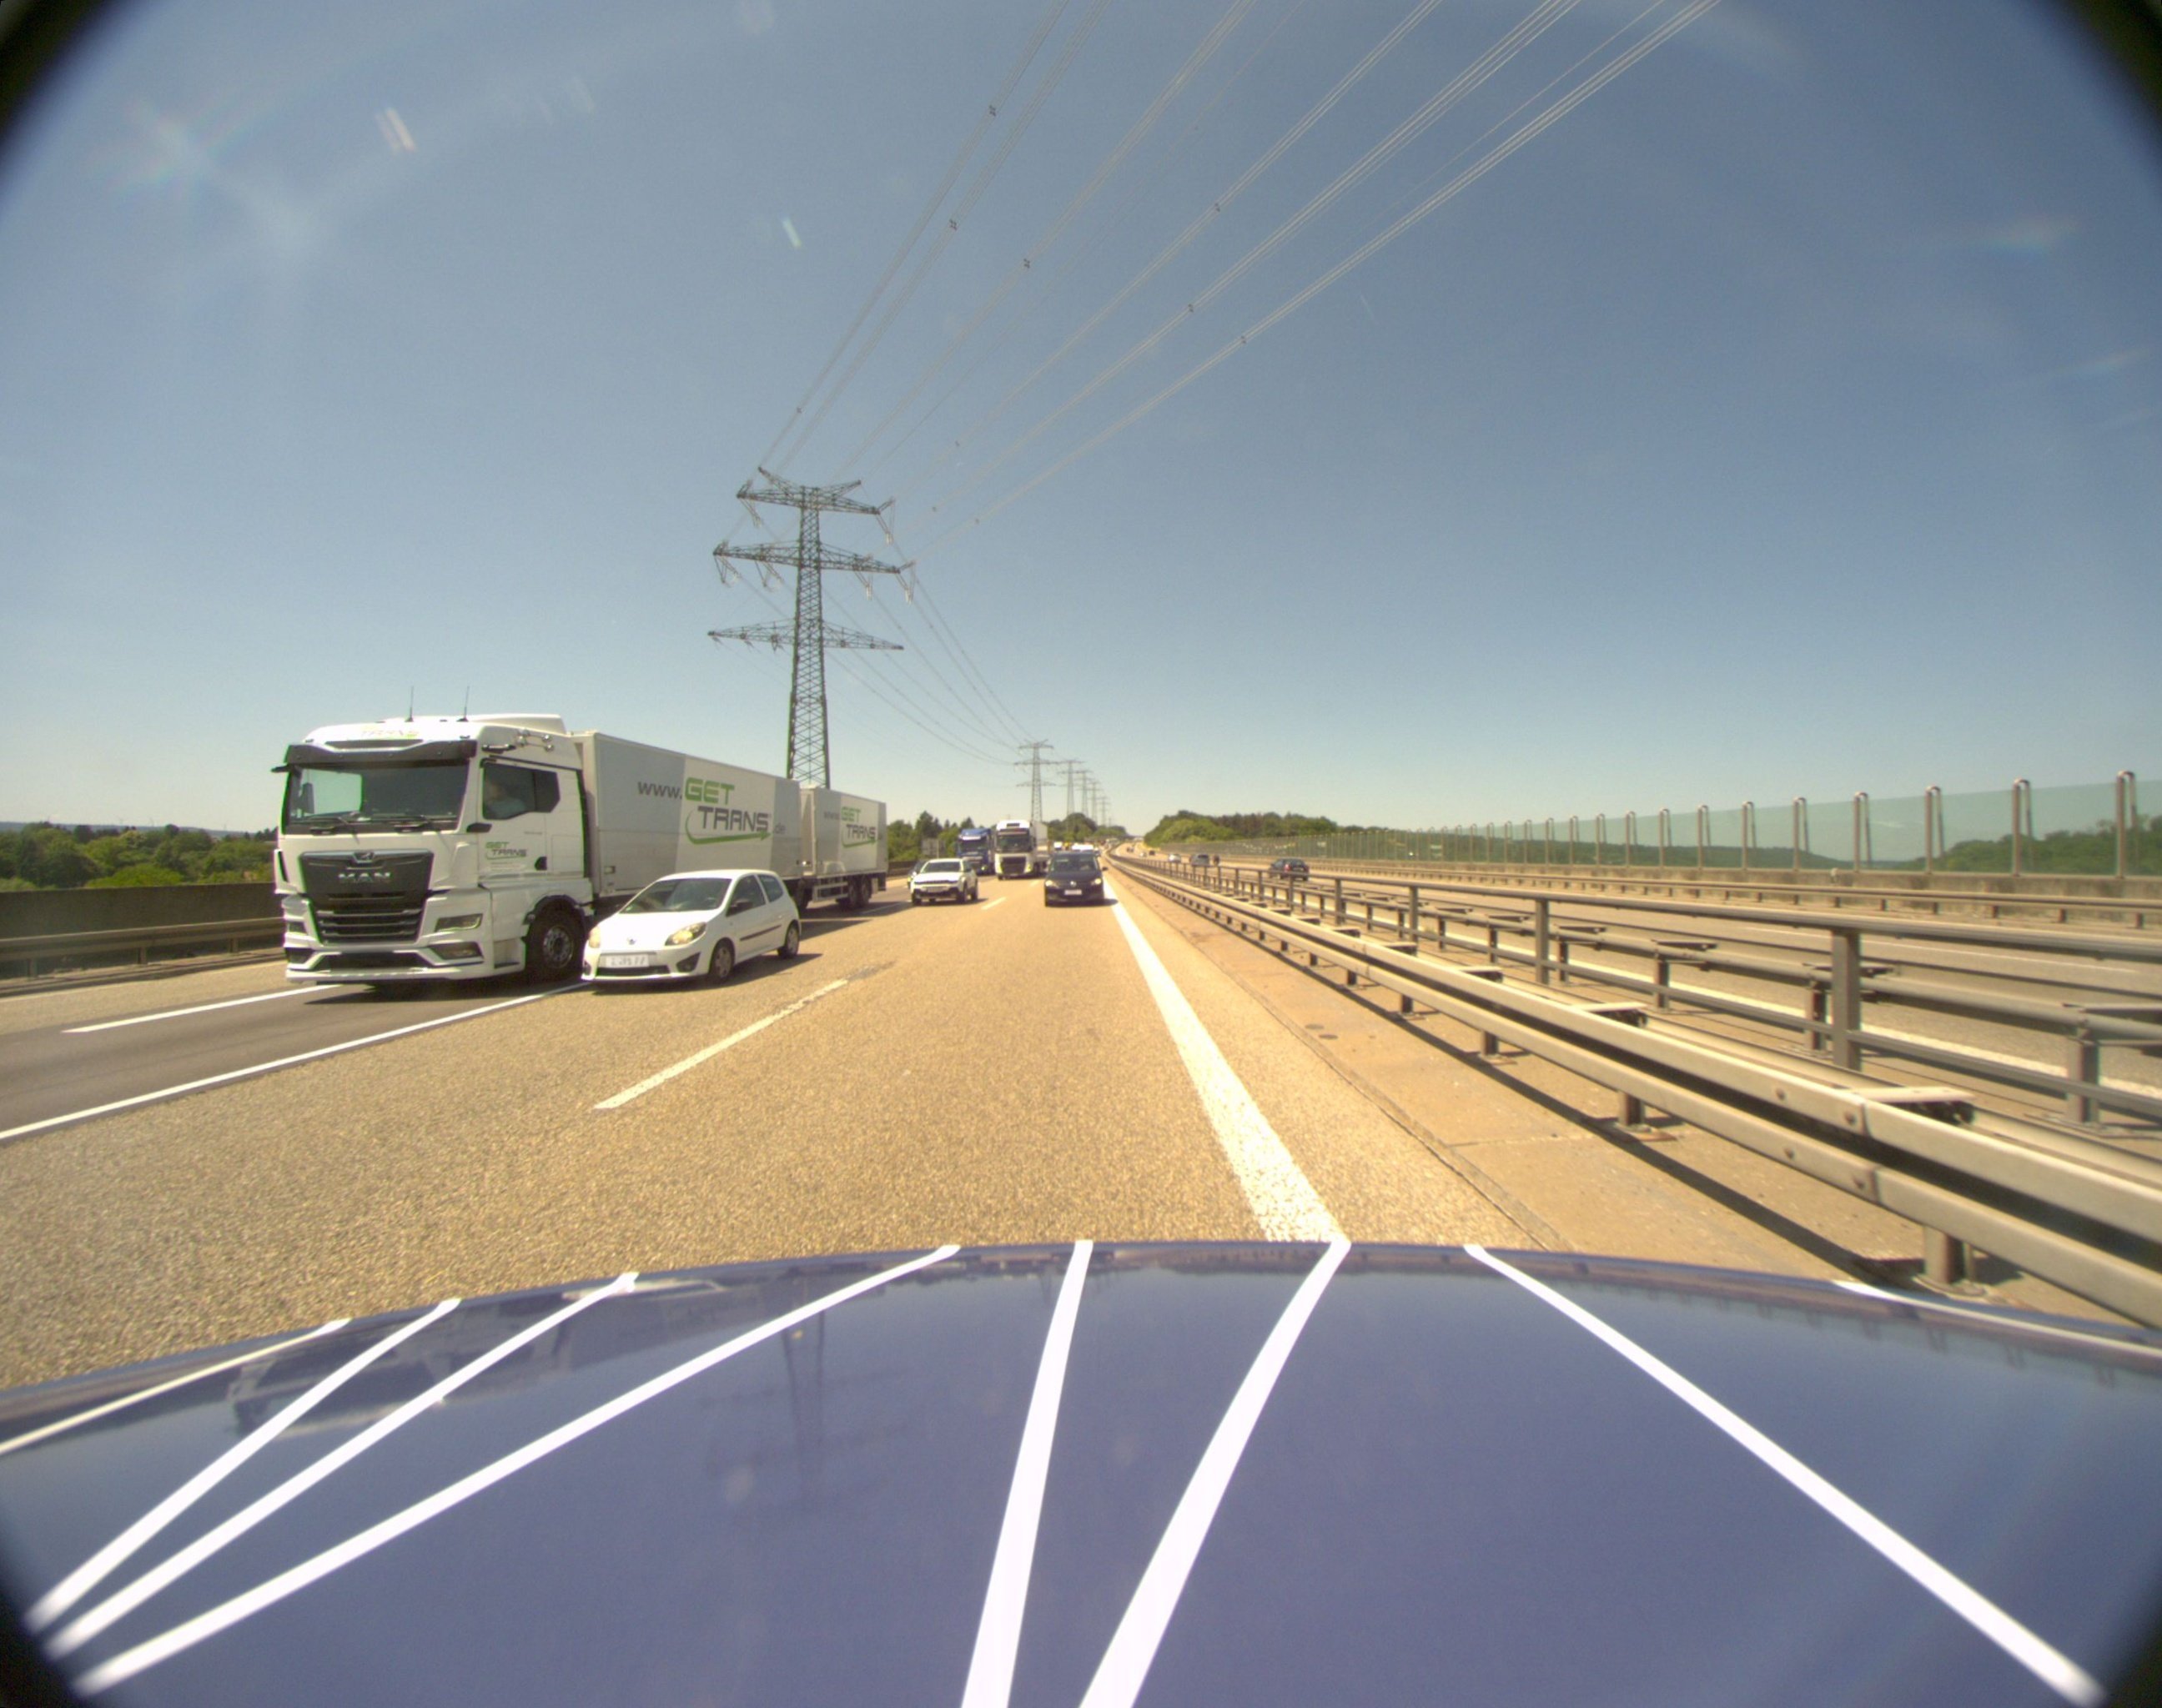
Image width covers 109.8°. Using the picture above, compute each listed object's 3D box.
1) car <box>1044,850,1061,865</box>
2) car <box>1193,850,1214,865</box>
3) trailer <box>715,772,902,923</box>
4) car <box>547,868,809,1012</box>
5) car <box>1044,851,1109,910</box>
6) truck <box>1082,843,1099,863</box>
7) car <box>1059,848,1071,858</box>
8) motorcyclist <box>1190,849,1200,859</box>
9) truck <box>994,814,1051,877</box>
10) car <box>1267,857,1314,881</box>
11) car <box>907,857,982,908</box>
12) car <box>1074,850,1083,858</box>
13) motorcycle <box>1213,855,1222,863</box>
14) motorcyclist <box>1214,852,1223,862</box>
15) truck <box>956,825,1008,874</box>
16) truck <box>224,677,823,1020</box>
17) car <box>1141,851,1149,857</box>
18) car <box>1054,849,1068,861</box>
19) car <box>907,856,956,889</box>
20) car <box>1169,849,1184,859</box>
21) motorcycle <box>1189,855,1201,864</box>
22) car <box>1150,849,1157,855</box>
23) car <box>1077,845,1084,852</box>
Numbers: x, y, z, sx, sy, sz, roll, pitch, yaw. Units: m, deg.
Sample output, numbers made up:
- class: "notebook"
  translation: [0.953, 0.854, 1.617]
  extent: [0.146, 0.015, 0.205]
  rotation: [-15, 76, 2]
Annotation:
- class: "car"
  translation: [-3.342, 0.394, 89.535]
  extent: [1.821, 1.569, 3.999]
  rotation: [-2, 1, 0]
- class: "car"
  translation: [13.922, 0.388, 86.508]
  extent: [1.786, 1.692, 4.154]
  rotation: [0, 1, 0]
- class: "trailer"
  translation: [-8.186, -0.188, 24.116]
  extent: [2.752, 3.918, 7.774]
  rotation: [-2, 0, 2]
- class: "car"
  translation: [-5.425, 1.048, 10.861]
  extent: [1.659, 1.502, 3.825]
  rotation: [-3, 1, 0]
- class: "car"
  translation: [-0.086, 0.740, 23.448]
  extent: [1.748, 1.569, 4.000]
  rotation: [-3, 1, 1]
- class: "truck"
  translation: [1.398, -0.177, 107.911]
  extent: [2.309, 2.789, 5.109]
  rotation: [-3, 1, 1]
- class: "car"
  translation: [-2.660, -0.257, 129.616]
  extent: [1.821, 1.569, 3.999]
  rotation: [-2, 1, 0]
- class: "motorcyclist"
  translation: [19.301, 0.024, 128.904]
  extent: [1.379, 1.675, 1.133]
  rotation: [-3, 1, -1]
- class: "truck"
  translation: [-4.069, -0.562, 56.439]
  extent: [2.717, 4.015, 14.256]
  rotation: [-3, 0, 1]
- class: "car"
  translation: [12.922, 0.877, 47.136]
  extent: [1.765, 1.312, 4.270]
  rotation: [1, 1, 0]
- class: "car"
  translation: [-4.633, 0.922, 26.296]
  extent: [1.776, 1.521, 3.851]
  rotation: [-3, 1, 1]
- class: "car"
  translation: [-0.600, 0.000, 177.426]
  extent: [1.821, 1.569, 3.999]
  rotation: [-2, 1, 0]
- class: "motorcycle"
  translation: [18.181, 0.691, 101.037]
  extent: [0.792, 1.065, 2.649]
  rotation: [0, 1, 0]
- class: "motorcyclist"
  translation: [18.166, 0.406, 100.751]
  extent: [0.921, 1.276, 1.286]
  rotation: [-3, 1, 0]
- class: "truck"
  translation: [-8.461, -0.441, 66.220]
  extent: [2.841, 3.858, 11.272]
  rotation: [-3, 1, 0]
- class: "truck"
  translation: [-8.446, -0.087, 14.546]
  extent: [2.695, 3.907, 11.297]
  rotation: [-2, 0, 2]
- class: "car"
  translation: [16.987, -0.036, 202.358]
  extent: [1.820, 1.645, 3.999]
  rotation: [-3, 1, 0]
- class: "car"
  translation: [-2.785, 0.143, 105.584]
  extent: [1.821, 1.569, 3.999]
  rotation: [-2, 1, 0]
- class: "car"
  translation: [-8.089, 0.950, 41.400]
  extent: [1.821, 1.569, 3.999]
  rotation: [-2, 1, 0]
- class: "car"
  translation: [14.812, 0.024, 117.567]
  extent: [1.735, 1.481, 4.124]
  rotation: [-3, 1, 0]
- class: "motorcycle"
  translation: [19.336, 0.902, 128.800]
  extent: [1.490, 1.468, 3.382]
  rotation: [-3, 1, -1]
- class: "car"
  translation: [22.136, -0.610, 233.097]
  extent: [1.820, 1.824, 3.999]
  rotation: [-3, 1, 0]
- class: "car"
  translation: [-0.113, -1.589, 215.251]
  extent: [1.998, 2.002, 3.999]
  rotation: [-3, 1, 0]
